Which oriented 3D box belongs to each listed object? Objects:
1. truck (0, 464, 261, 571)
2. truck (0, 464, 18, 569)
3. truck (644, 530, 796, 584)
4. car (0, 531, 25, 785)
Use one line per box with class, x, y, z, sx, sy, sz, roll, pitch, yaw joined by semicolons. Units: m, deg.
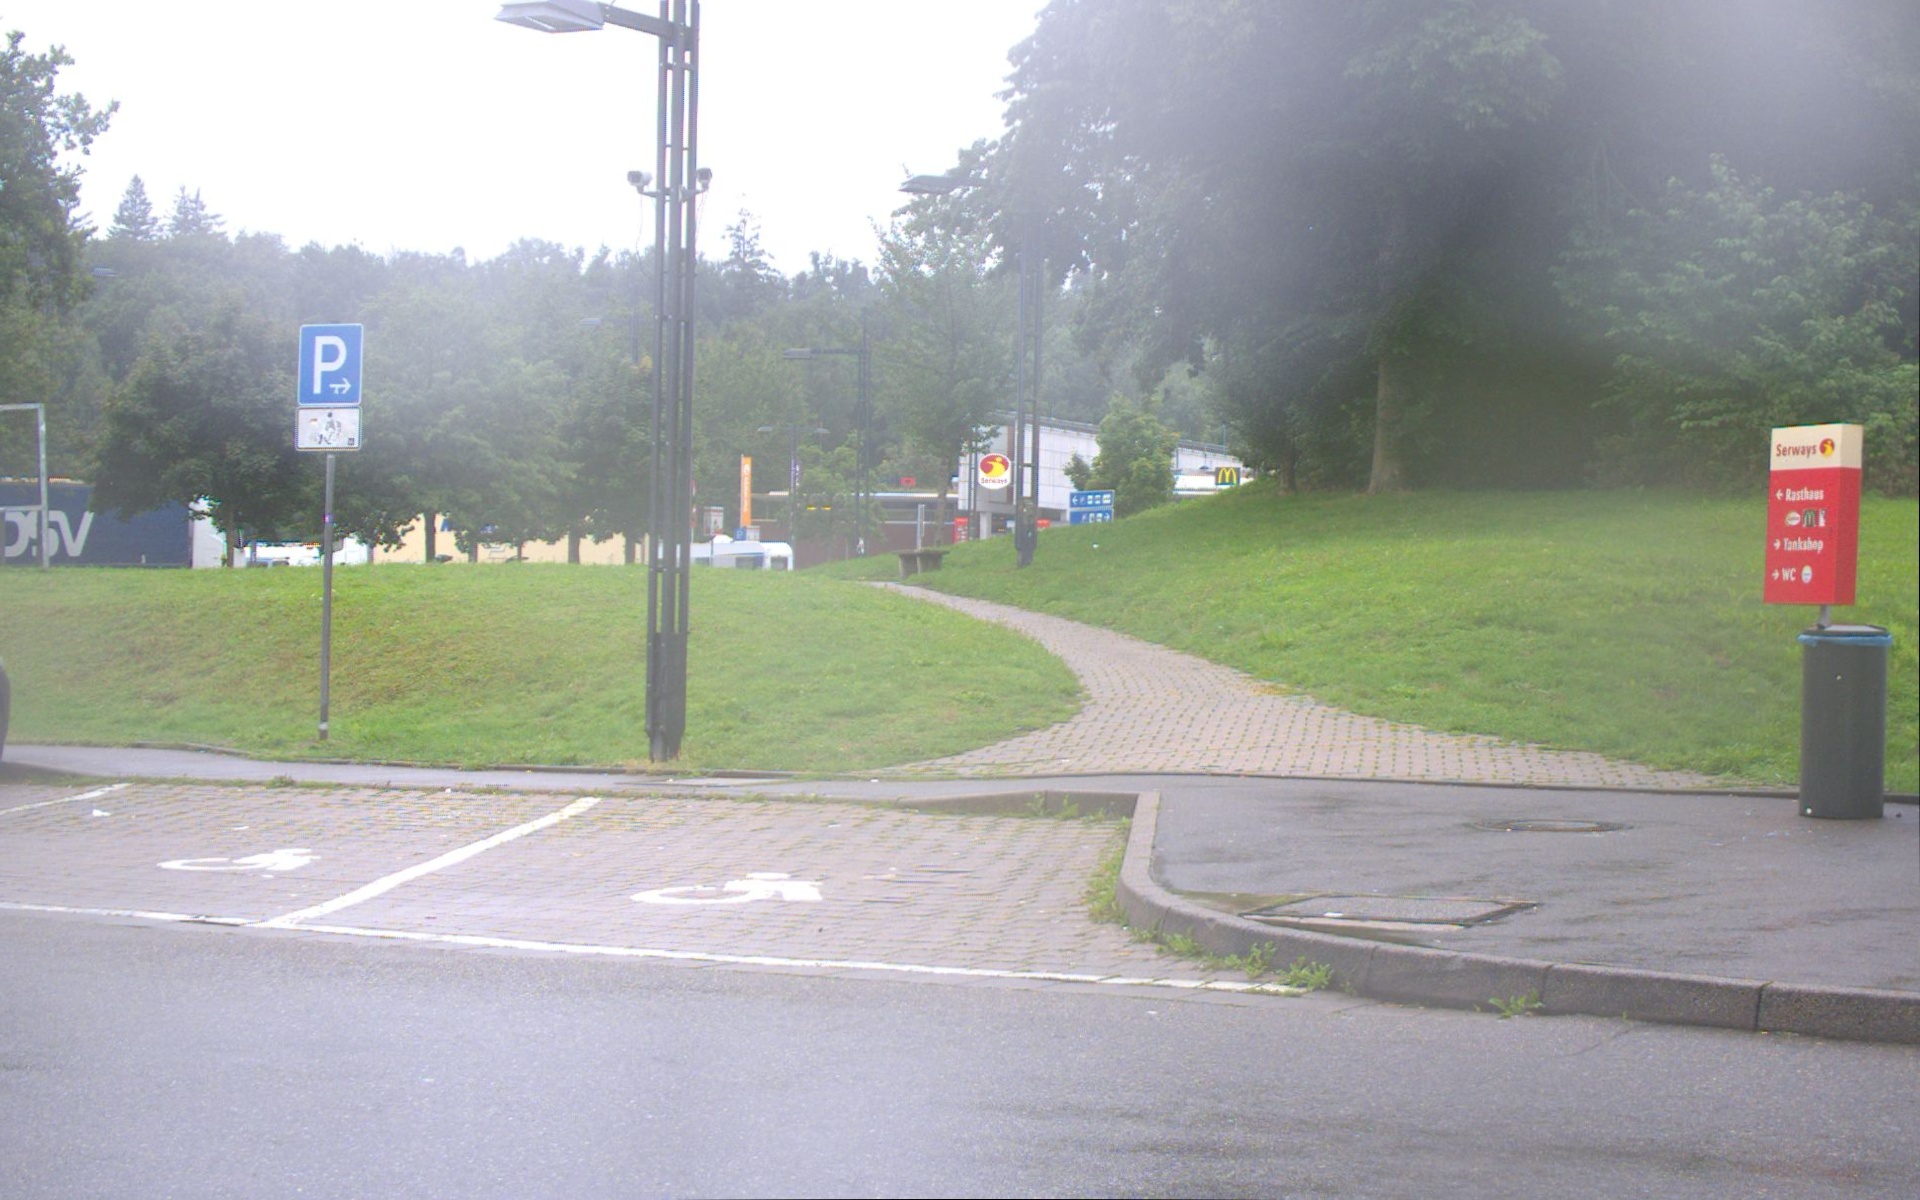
truck;-25.467;-2.370;101.619;2.188;2.910;13.082;1;1;24
truck;-28.606;-2.345;94.650;2.189;2.910;5.380;1;1;24
truck;-9.328;-1.666;133.796;5.413;2.007;2.364;1;1;25
car;-7.807;0.454;21.482;2.018;1.705;4.341;-1;1;12
